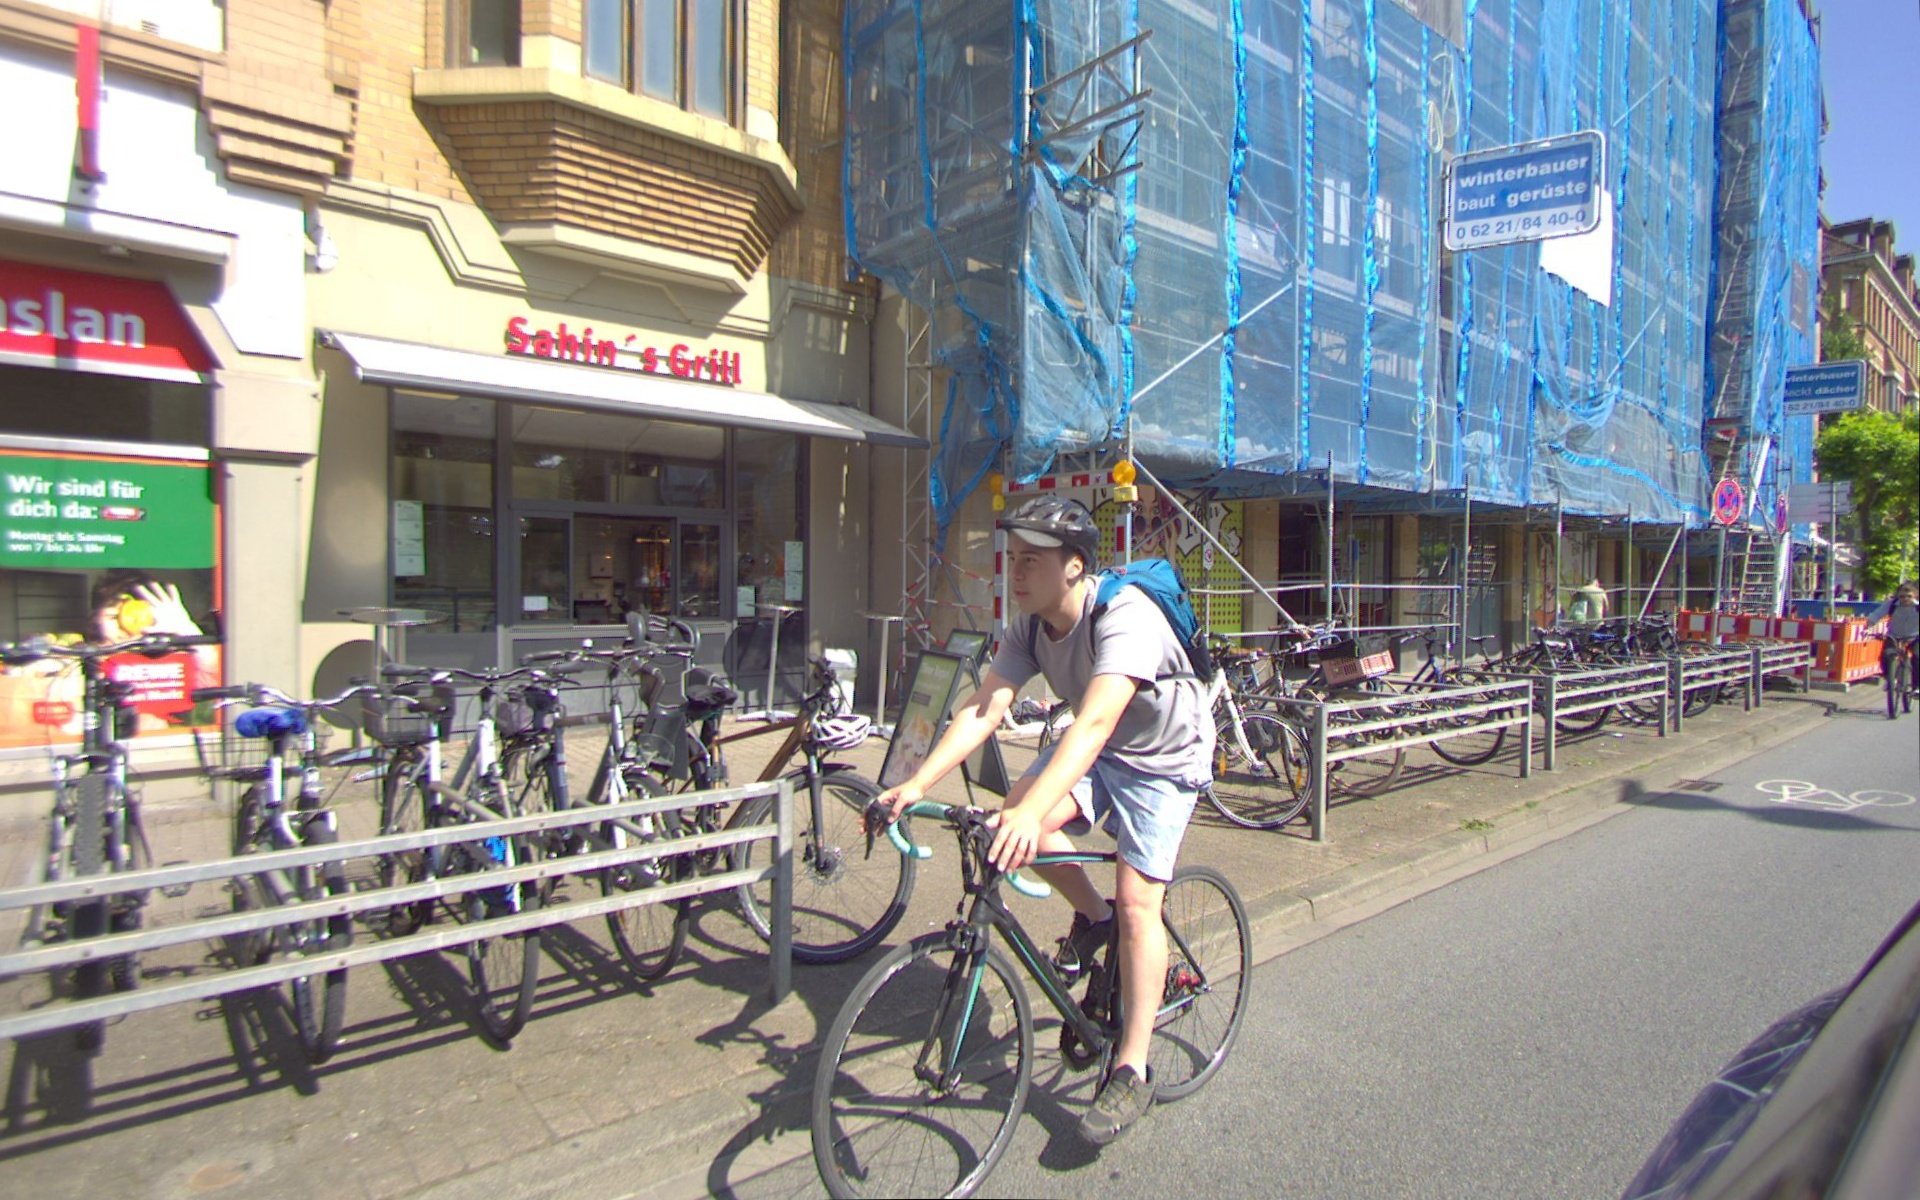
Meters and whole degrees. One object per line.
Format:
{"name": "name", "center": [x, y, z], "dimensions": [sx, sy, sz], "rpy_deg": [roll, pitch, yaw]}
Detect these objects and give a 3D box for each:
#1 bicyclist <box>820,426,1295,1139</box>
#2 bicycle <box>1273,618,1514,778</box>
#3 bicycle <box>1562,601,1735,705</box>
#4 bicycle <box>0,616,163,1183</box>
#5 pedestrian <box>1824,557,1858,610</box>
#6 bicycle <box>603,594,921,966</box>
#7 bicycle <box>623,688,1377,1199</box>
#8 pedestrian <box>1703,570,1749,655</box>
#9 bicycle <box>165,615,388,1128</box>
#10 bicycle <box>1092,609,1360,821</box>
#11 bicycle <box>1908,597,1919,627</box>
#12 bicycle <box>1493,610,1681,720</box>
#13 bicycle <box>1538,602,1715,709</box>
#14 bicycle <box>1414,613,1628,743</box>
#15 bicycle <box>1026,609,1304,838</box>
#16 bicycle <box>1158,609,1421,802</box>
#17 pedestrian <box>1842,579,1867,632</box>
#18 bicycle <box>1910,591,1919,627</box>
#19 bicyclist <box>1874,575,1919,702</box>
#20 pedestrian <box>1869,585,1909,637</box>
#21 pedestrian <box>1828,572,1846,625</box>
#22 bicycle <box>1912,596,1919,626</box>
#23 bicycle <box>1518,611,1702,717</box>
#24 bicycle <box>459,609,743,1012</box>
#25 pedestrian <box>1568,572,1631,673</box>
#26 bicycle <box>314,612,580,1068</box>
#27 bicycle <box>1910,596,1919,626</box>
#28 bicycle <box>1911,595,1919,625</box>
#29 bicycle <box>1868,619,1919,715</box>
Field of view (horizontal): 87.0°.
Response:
{"name": "bicyclist", "center": [0.290, 0.372, 2.739], "dimensions": [1.123, 1.481, 0.689], "rpy_deg": [-1, 0, -42]}
{"name": "bicycle", "center": [3.412, 0.716, 8.095], "dimensions": [0.598, 1.101, 1.697], "rpy_deg": [-1, 1, -39]}
{"name": "bicycle", "center": [8.582, 0.616, 12.680], "dimensions": [0.598, 1.193, 1.697], "rpy_deg": [0, 1, -39]}
{"name": "bicycle", "center": [-2.584, 0.663, 2.892], "dimensions": [0.455, 1.193, 1.697], "rpy_deg": [0, 1, -39]}
{"name": "pedestrian", "center": [30.625, -0.573, 35.186], "dimensions": [0.966, 1.803, 0.670], "rpy_deg": [-1, 2, -36]}
{"name": "bicycle", "center": [-0.914, 0.607, 4.292], "dimensions": [0.598, 1.256, 1.697], "rpy_deg": [0, 1, -39]}
{"name": "bicycle", "center": [0.263, 0.885, 2.713], "dimensions": [2.094, 1.106, 0.735], "rpy_deg": [-1, 0, -42]}
{"name": "pedestrian", "center": [16.459, 0.261, 21.739], "dimensions": [0.638, 1.799, 0.640], "rpy_deg": [0, -1, -40]}
{"name": "bicycle", "center": [-2.245, 0.666, 3.238], "dimensions": [0.443, 1.193, 1.697], "rpy_deg": [0, 1, -39]}
{"name": "bicycle", "center": [1.703, 0.674, 6.716], "dimensions": [0.598, 1.193, 1.697], "rpy_deg": [0, 1, -39]}
{"name": "bicycle", "center": [33.467, 0.420, 34.395], "dimensions": [0.547, 1.031, 1.755], "rpy_deg": [0, 1, -41]}
{"name": "bicycle", "center": [6.984, 0.682, 11.340], "dimensions": [0.598, 1.111, 1.697], "rpy_deg": [-1, 1, -39]}
{"name": "bicycle", "center": [8.046, 0.626, 12.275], "dimensions": [0.598, 1.193, 1.697], "rpy_deg": [0, 1, -39]}
{"name": "bicycle", "center": [5.445, 0.705, 9.919], "dimensions": [0.598, 1.123, 1.742], "rpy_deg": [-1, 1, -39]}
{"name": "bicycle", "center": [1.208, 0.668, 6.273], "dimensions": [0.598, 1.193, 1.697], "rpy_deg": [0, 1, -39]}
{"name": "bicycle", "center": [2.325, 0.683, 7.337], "dimensions": [0.598, 1.193, 1.775], "rpy_deg": [0, 1, -39]}
{"name": "pedestrian", "center": [29.404, 0.158, 33.261], "dimensions": [0.528, 1.703, 0.499], "rpy_deg": [-1, 4, -42]}
{"name": "bicycle", "center": [33.096, 0.325, 33.955], "dimensions": [0.569, 1.196, 1.755], "rpy_deg": [0, 1, -41]}
{"name": "bicyclist", "center": [12.325, 0.485, 13.012], "dimensions": [0.764, 1.597, 0.749], "rpy_deg": [0, -1, -41]}
{"name": "pedestrian", "center": [34.118, 0.390, 37.156], "dimensions": [0.874, 1.871, 0.818], "rpy_deg": [-1, 3, -33]}
{"name": "pedestrian", "center": [28.839, -0.048, 33.283], "dimensions": [0.380, 1.703, 0.469], "rpy_deg": [3, 3, 43]}
{"name": "bicycle", "center": [34.398, 0.404, 35.278], "dimensions": [0.474, 1.031, 1.755], "rpy_deg": [0, 1, -42]}
{"name": "bicycle", "center": [7.500, 0.696, 11.741], "dimensions": [0.598, 1.111, 1.697], "rpy_deg": [-1, 1, -39]}
{"name": "bicycle", "center": [-1.453, 0.648, 3.899], "dimensions": [0.488, 1.193, 1.697], "rpy_deg": [0, 1, -39]}
{"name": "pedestrian", "center": [10.536, 0.353, 16.675], "dimensions": [0.752, 1.621, 0.644], "rpy_deg": [0, -1, -40]}
{"name": "bicycle", "center": [-1.863, 0.659, 3.547], "dimensions": [0.482, 1.193, 1.697], "rpy_deg": [0, 1, -39]}
{"name": "bicycle", "center": [33.949, 0.399, 34.848], "dimensions": [0.577, 1.030, 1.755], "rpy_deg": [0, 2, -41]}
{"name": "bicycle", "center": [34.823, 0.369, 35.730], "dimensions": [0.474, 1.031, 1.755], "rpy_deg": [0, 1, -41]}
{"name": "bicycle", "center": [12.251, 0.829, 12.949], "dimensions": [1.865, 1.107, 0.735], "rpy_deg": [-1, 0, -42]}
